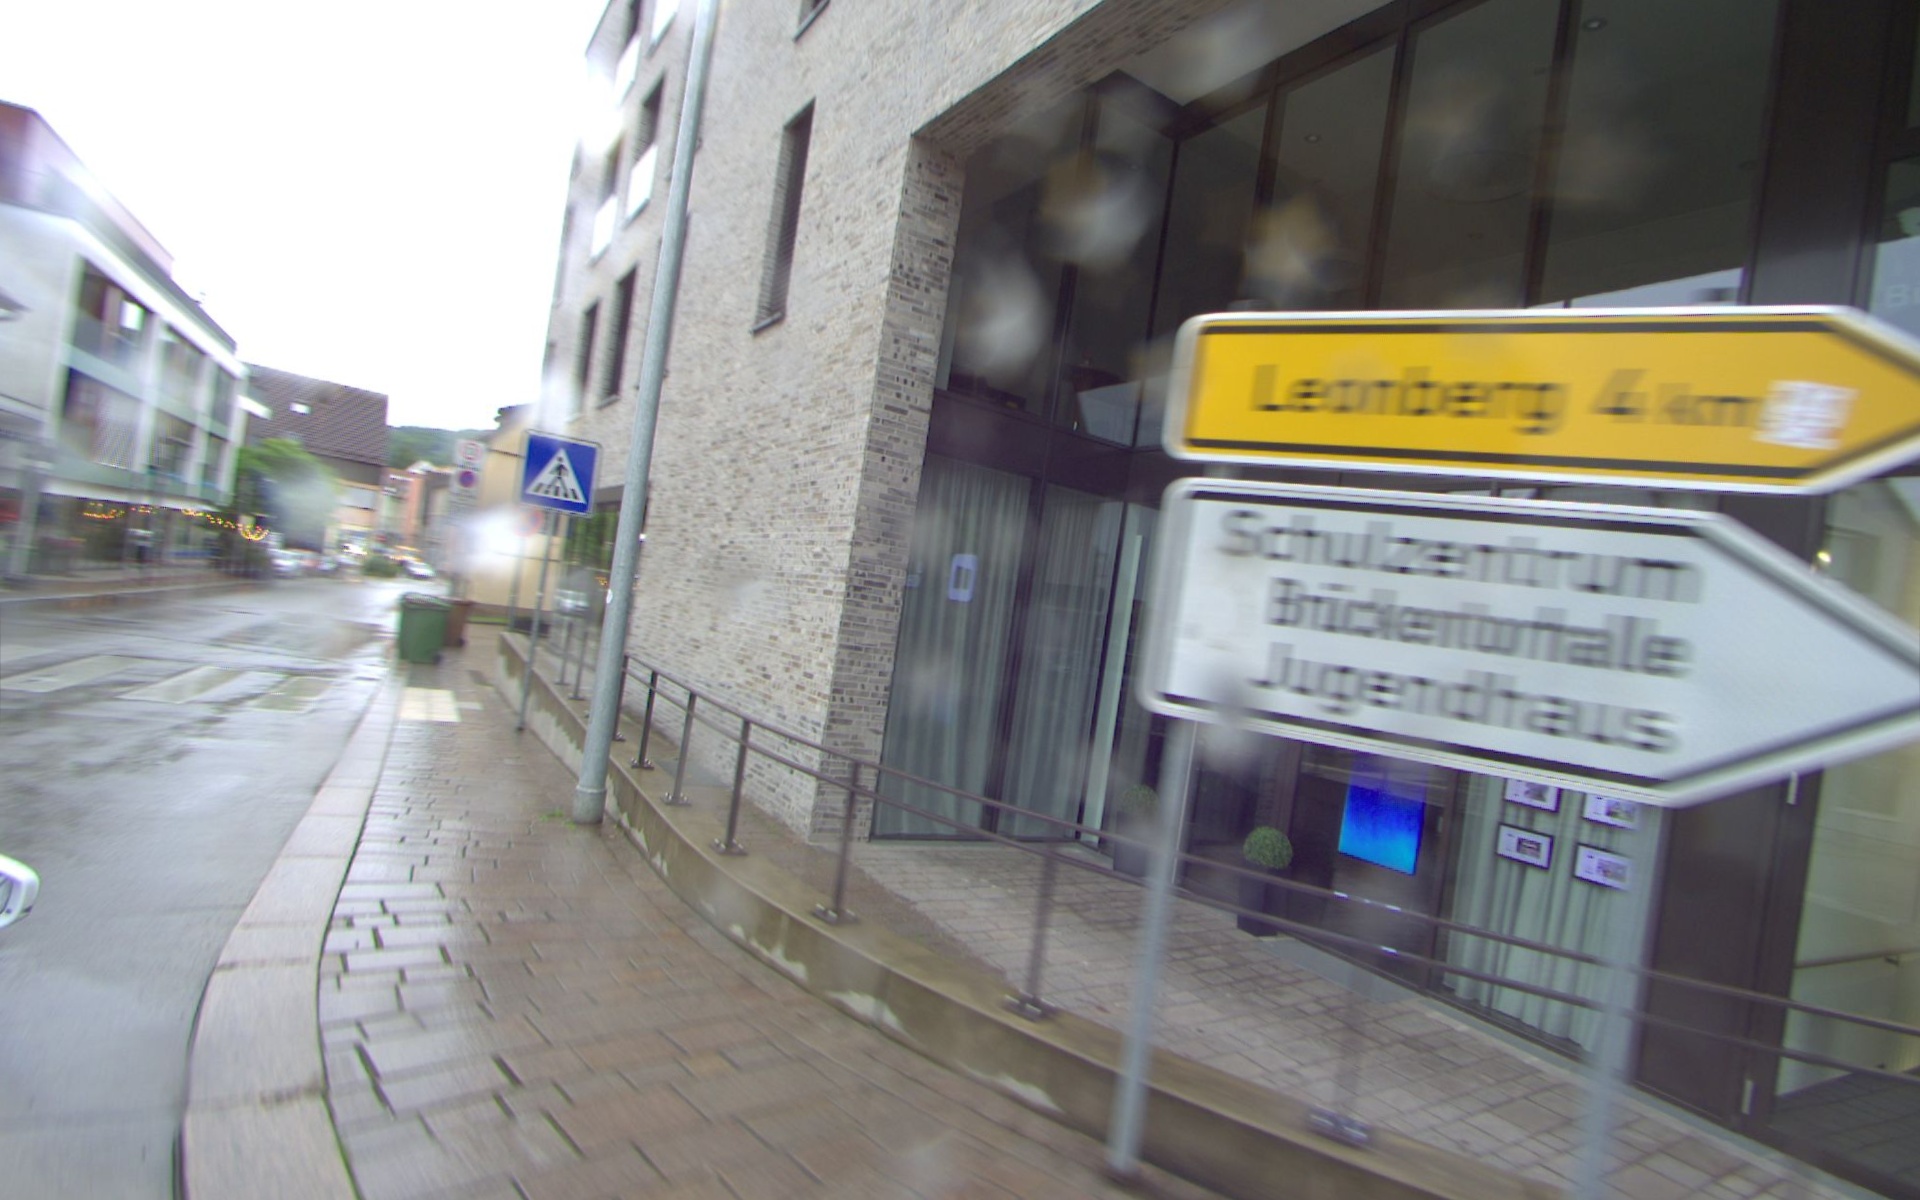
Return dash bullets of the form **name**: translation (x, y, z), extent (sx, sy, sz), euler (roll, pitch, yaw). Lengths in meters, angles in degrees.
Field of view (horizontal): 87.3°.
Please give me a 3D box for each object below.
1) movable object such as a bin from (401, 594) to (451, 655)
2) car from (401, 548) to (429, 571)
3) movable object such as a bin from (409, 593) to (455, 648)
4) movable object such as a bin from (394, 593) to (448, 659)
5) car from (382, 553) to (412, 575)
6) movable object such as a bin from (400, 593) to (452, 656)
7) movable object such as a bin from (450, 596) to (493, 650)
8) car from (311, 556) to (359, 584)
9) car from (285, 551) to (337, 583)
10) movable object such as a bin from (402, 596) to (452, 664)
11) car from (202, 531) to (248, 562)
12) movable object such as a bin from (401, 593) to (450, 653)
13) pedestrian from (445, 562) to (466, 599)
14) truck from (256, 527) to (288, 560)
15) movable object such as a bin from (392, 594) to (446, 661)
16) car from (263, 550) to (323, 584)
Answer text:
- **movable object such as a bin**: translation (-10.509, 0.479, 19.814), extent (0.759, 1.108, 0.577), euler (7, -1, -28)
- **car**: translation (-59.240, -4.451, 109.277), extent (2.090, 2.172, 4.824), euler (7, -1, -33)
- **movable object such as a bin**: translation (-11.538, 0.445, 21.995), extent (0.759, 1.108, 0.577), euler (7, -1, -28)
- **movable object such as a bin**: translation (-10.025, 0.481, 18.730), extent (0.759, 1.108, 0.577), euler (7, -1, -28)
- **car**: translation (-47.479, -3.025, 84.777), extent (1.706, 1.474, 3.873), euler (10, -2, -35)
- **movable object such as a bin**: translation (-10.241, 0.469, 19.295), extent (0.759, 1.108, 0.577), euler (7, -1, -28)
- **movable object such as a bin**: translation (-11.117, 0.523, 22.891), extent (0.759, 1.108, 0.622), euler (7, -1, -28)
- **car**: translation (-39.975, -1.883, 64.397), extent (1.697, 1.474, 3.893), euler (10, -2, -20)
- **car**: translation (-38.418, -1.900, 59.624), extent (1.769, 1.594, 4.086), euler (8, -2, -23)
- **movable object such as a bin**: translation (-9.359, 0.522, 17.673), extent (0.658, 1.108, 0.547), euler (7, -1, -30)
- **car**: translation (-53.505, -3.901, 73.283), extent (1.797, 1.639, 3.968), euler (9, 4, -26)
- **movable object such as a bin**: translation (-10.792, 0.470, 20.339), extent (0.759, 1.108, 0.577), euler (7, -1, -28)
- **pedestrian**: translation (-27.779, -1.087, 55.403), extent (0.803, 1.908, 0.901), euler (6, 0, -30)
- **truck**: translation (-51.592, -4.271, 75.475), extent (1.585, 2.091, 3.164), euler (6, 4, -30)
- **movable object such as a bin**: translation (-9.789, 0.494, 18.202), extent (0.734, 1.108, 0.653), euler (7, -1, -29)
- **car**: translation (-36.079, -1.735, 54.514), extent (1.769, 1.516, 4.432), euler (8, -2, -23)
